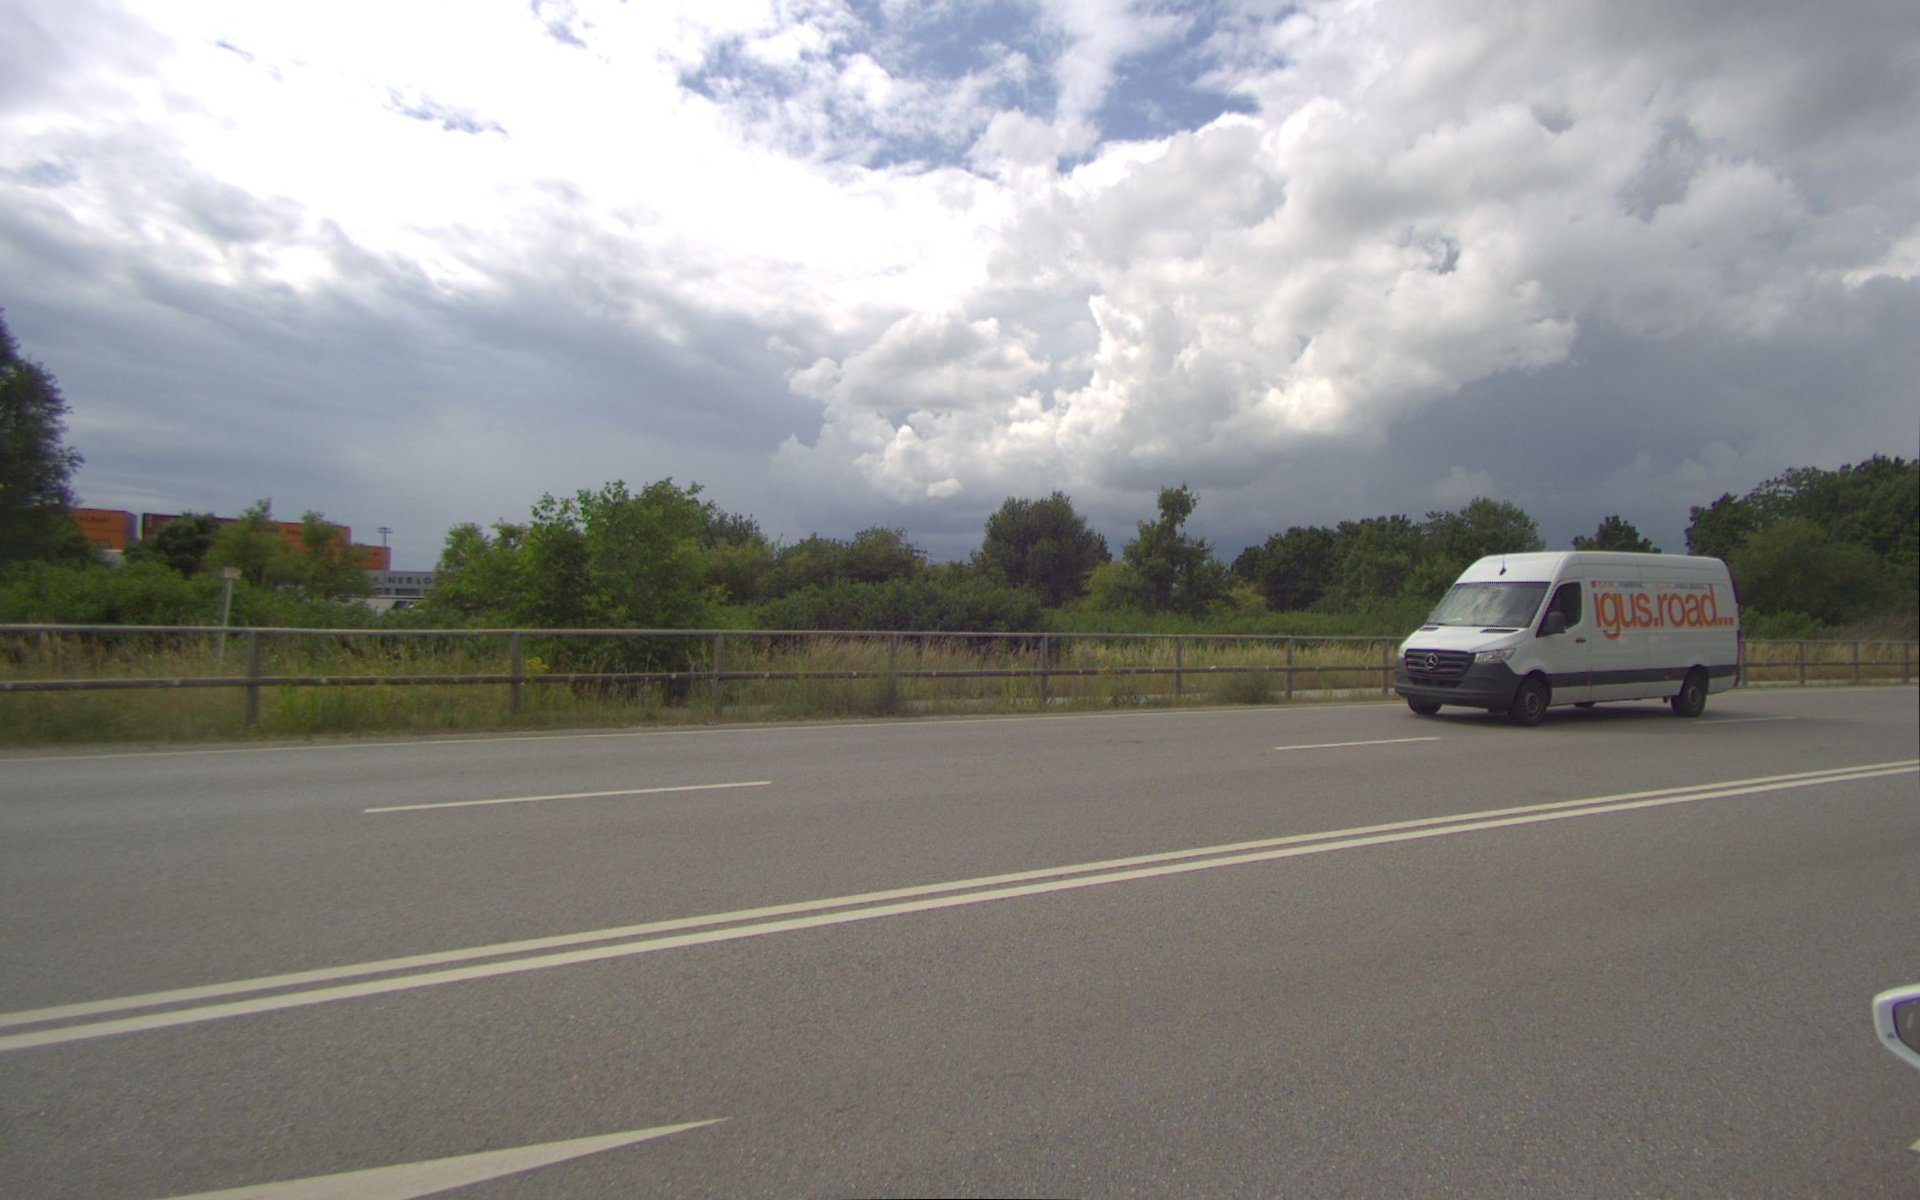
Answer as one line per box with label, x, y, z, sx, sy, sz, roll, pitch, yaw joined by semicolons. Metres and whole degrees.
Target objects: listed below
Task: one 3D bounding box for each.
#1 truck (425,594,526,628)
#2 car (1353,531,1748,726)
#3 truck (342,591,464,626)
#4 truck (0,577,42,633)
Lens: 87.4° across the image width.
truck;-33.648;0.782;69.857;6.154;2.040;1.985;3;-1;-29
car;9.885;0.490;16.647;6.801;2.710;2.424;2;-1;-28
truck;-37.441;0.573;67.775;7.047;2.040;1.985;3;-1;-29
truck;-48.798;0.190;48.132;2.600;2.718;6.658;1;-1;17
